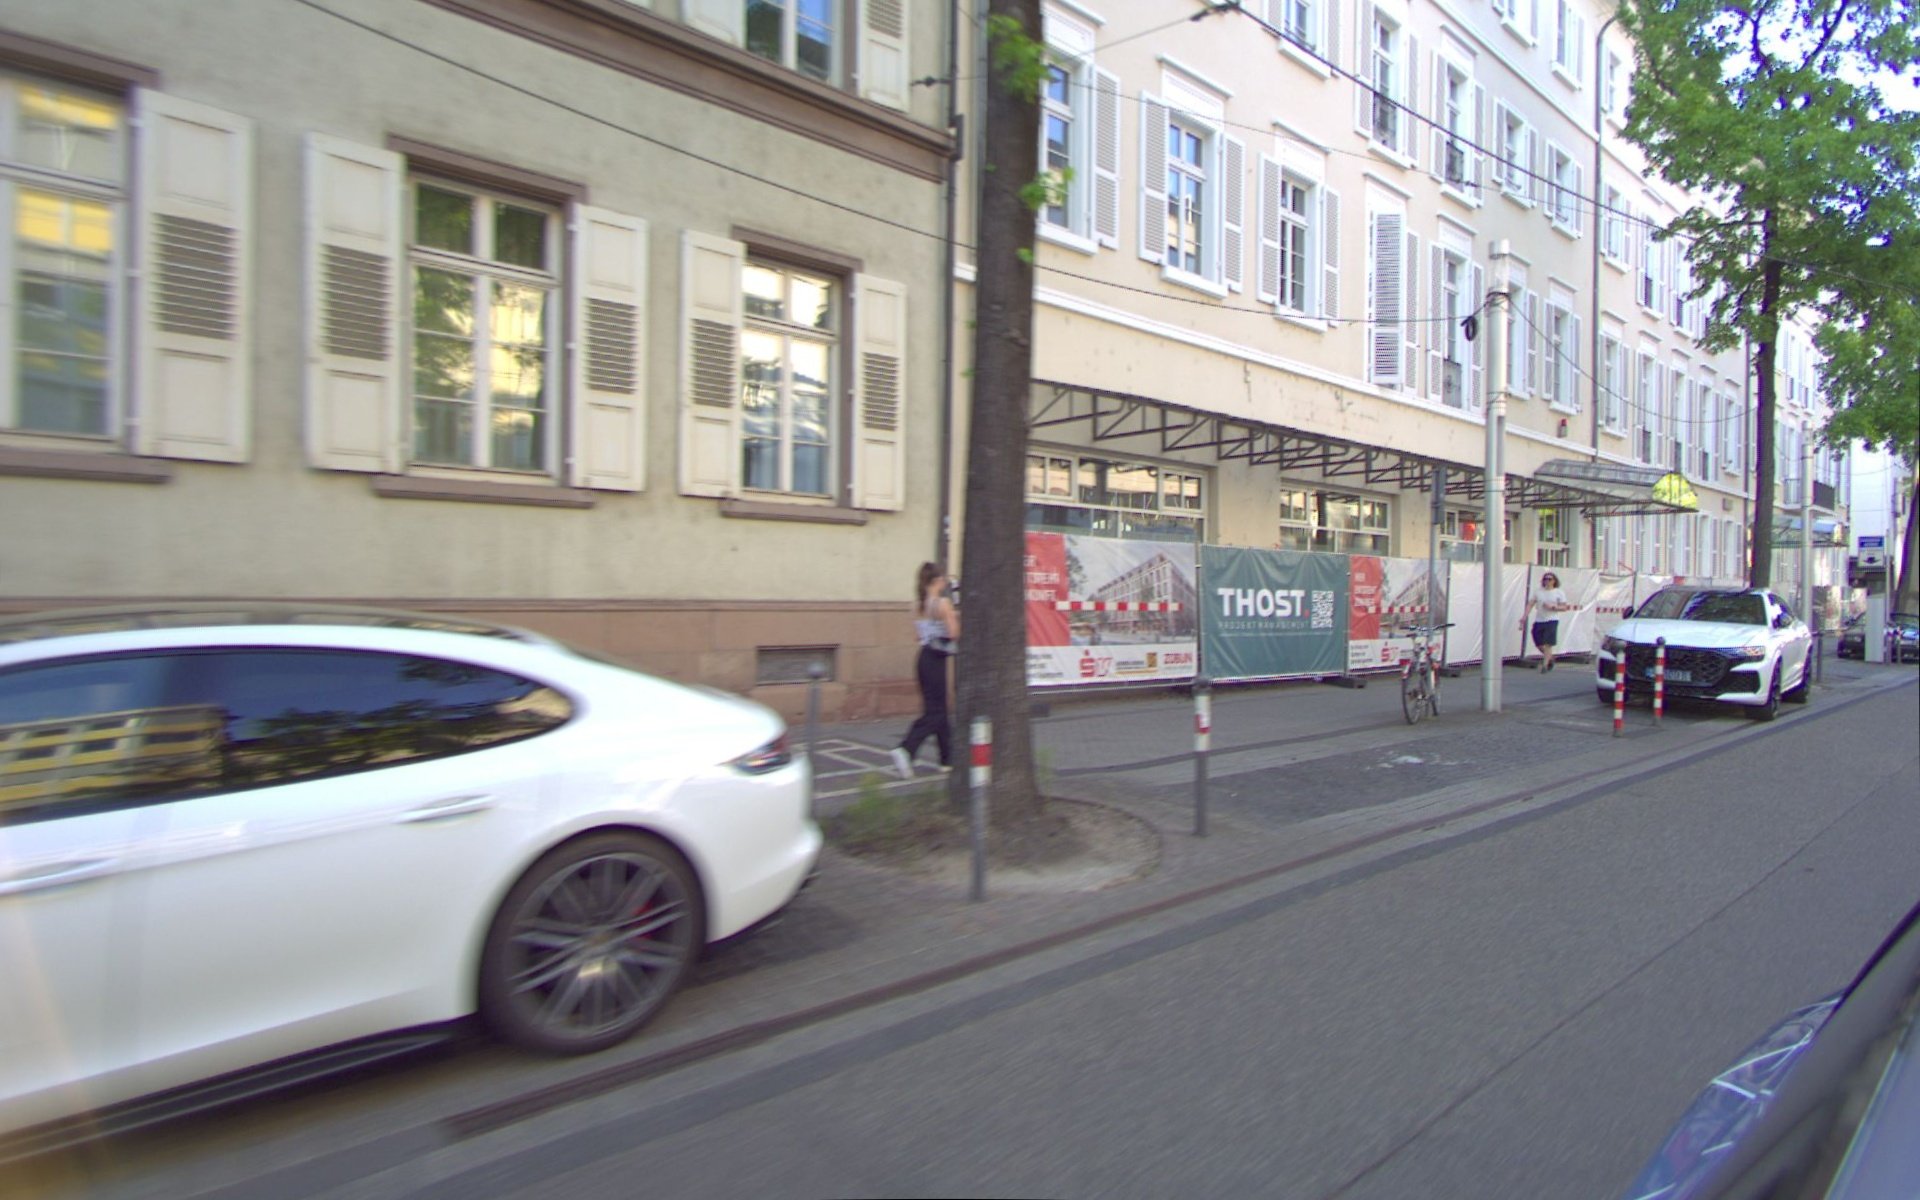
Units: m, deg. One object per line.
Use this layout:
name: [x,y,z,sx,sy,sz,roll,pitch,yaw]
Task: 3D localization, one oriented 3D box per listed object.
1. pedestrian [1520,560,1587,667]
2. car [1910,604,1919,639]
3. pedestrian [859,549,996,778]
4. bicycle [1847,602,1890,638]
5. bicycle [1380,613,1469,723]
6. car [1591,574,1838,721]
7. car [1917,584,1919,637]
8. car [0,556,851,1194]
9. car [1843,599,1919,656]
pedestrian: [11.006,0.236,18.773,1.034,1.910,0.714,0,2,-40]
car: [47.668,1.046,47.683,1.831,1.628,3.945,-2,2,-33]
pedestrian: [-0.239,0.433,7.523,0.784,1.593,0.650,0,0,-40]
bicycle: [29.218,0.633,32.559,0.650,1.084,1.656,3,2,30]
bicycle: [5.427,0.743,11.765,0.417,1.114,1.960,3,2,40]
car: [11.017,0.526,14.627,4.885,1.708,2.000,-1,4,-43]
car: [35.084,0.403,35.142,4.236,1.814,1.958,0,3,-37]
car: [-2.877,0.616,3.047,4.801,1.438,1.917,0,3,-40]
car: [24.991,0.683,26.760,4.253,1.327,1.798,0,3,-40]
